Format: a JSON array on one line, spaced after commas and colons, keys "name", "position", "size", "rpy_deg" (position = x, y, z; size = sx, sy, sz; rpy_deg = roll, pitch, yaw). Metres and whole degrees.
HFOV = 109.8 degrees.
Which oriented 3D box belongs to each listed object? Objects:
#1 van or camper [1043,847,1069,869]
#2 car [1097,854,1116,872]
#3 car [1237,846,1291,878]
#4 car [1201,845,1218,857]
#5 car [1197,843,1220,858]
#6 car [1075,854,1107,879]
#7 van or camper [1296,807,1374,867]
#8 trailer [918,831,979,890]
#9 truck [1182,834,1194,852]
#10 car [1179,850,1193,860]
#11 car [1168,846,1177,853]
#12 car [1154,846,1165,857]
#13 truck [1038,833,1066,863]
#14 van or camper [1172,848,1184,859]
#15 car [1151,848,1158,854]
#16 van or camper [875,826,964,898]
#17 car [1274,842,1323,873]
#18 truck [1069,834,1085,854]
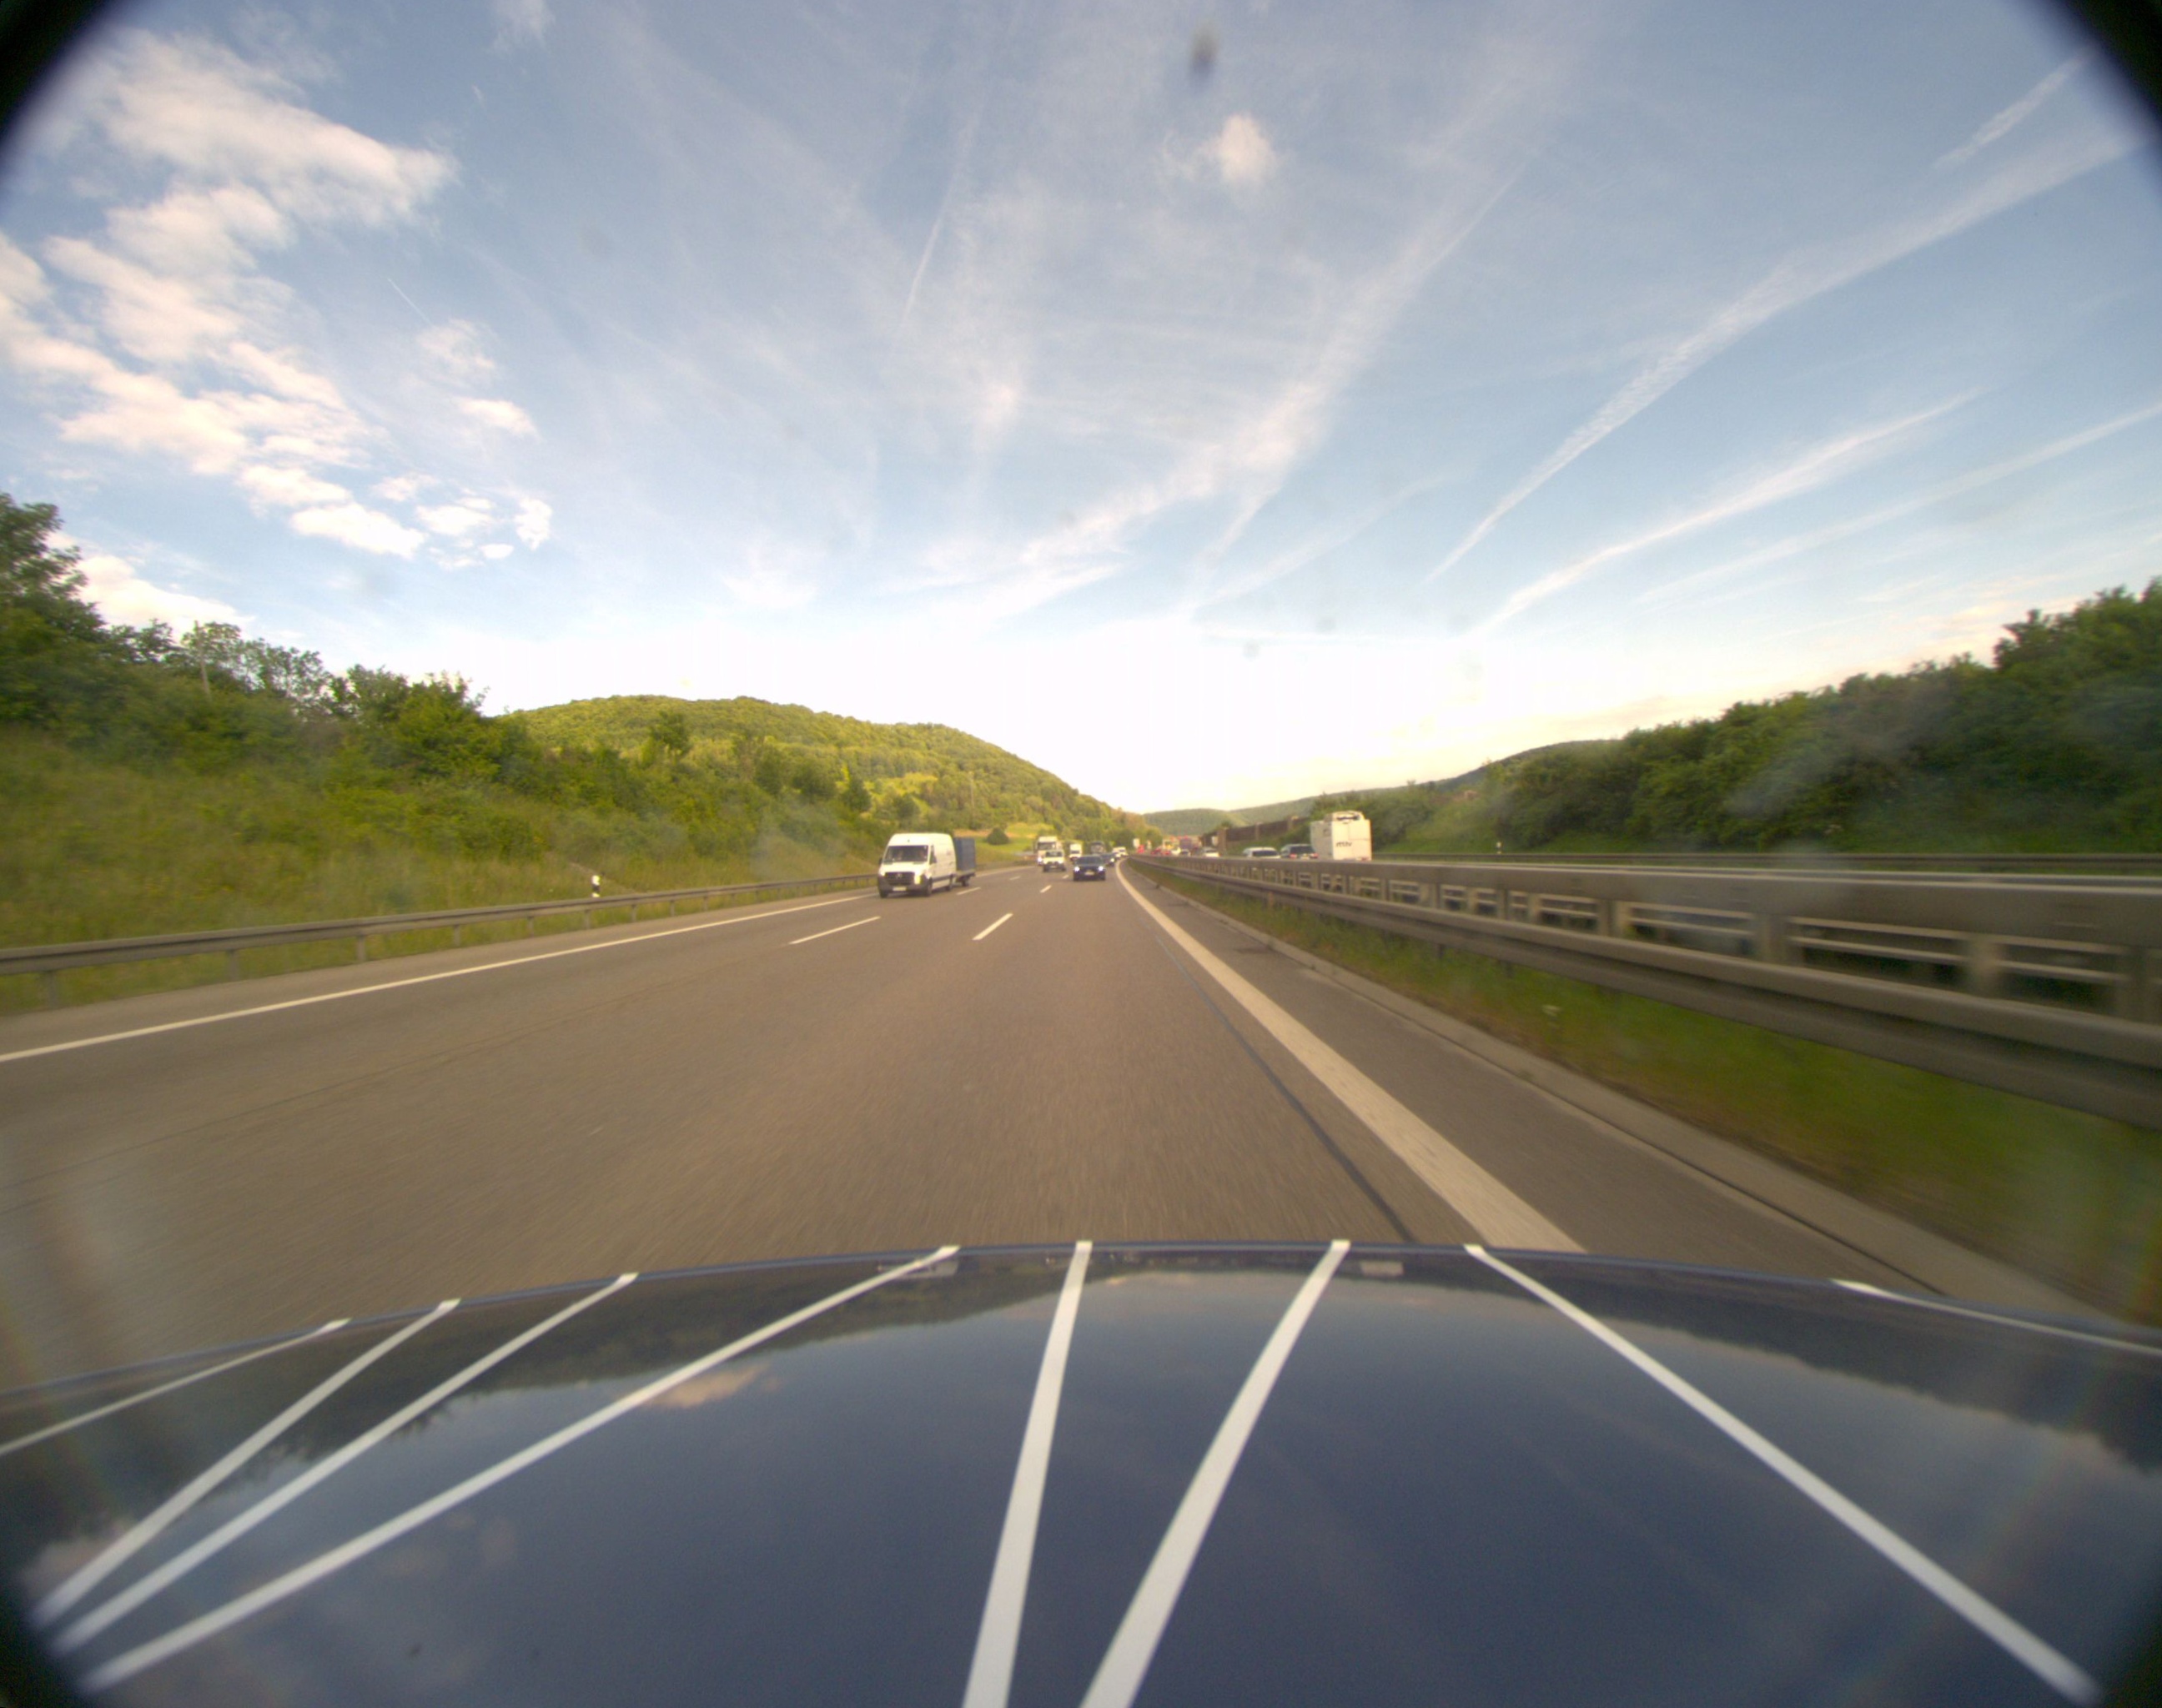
[{"name": "van or camper", "position": [-2.191, 0.353, 67.997], "size": [1.998, 1.881, 4.487], "rpy_deg": [-2, 0, 2]}, {"name": "car", "position": [2.711, 0.975, 82.389], "size": [1.998, 1.870, 4.001], "rpy_deg": [-1, 0, 1]}, {"name": "car", "position": [8.743, 0.344, 36.482], "size": [1.784, 1.401, 3.763], "rpy_deg": [-2, 0, 2]}, {"name": "car", "position": [20.010, -0.504, 118.498], "size": [1.934, 1.712, 4.879], "rpy_deg": [-2, 0, 3]}, {"name": "car", "position": [13.394, -0.378, 79.876], "size": [1.647, 1.427, 4.344], "rpy_deg": [-2, 0, 1]}, {"name": "car", "position": [0.614, 0.689, 43.169], "size": [1.580, 1.310, 4.001], "rpy_deg": [-2, 0, 3]}, {"name": "van or camper", "position": [16.428, -1.041, 49.719], "size": [2.488, 3.531, 7.977], "rpy_deg": [-2, 0, 1]}, {"name": "trailer", "position": [-6.618, 0.297, 38.618], "size": [1.998, 2.710, 5.249], "rpy_deg": [-2, 0, 1]}, {"name": "truck", "position": [26.789, -2.627, 190.602], "size": [2.655, 4.253, 14.685], "rpy_deg": [-2, 0, 7]}, {"name": "car", "position": [15.693, 0.161, 114.035], "size": [1.647, 1.427, 4.345], "rpy_deg": [-3, 1, 3]}, {"name": "car", "position": [20.806, -0.996, 173.131], "size": [1.688, 1.388, 4.000], "rpy_deg": [-2, 0, 3]}, {"name": "car", "position": [14.988, -0.507, 145.247], "size": [1.934, 1.880, 4.345], "rpy_deg": [-2, 0, 3]}, {"name": "truck", "position": [-4.078, -0.872, 108.704], "size": [2.925, 3.876, 13.010], "rpy_deg": [-2, 0, 2]}, {"name": "van or camper", "position": [19.086, -0.125, 149.897], "size": [1.852, 1.928, 5.401], "rpy_deg": [-2, 0, 3]}, {"name": "car", "position": [18.668, -0.806, 192.934], "size": [1.688, 1.450, 4.000], "rpy_deg": [-2, 0, 3]}, {"name": "van or camper", "position": [-6.749, 0.305, 32.764], "size": [1.998, 2.701, 7.523], "rpy_deg": [-2, 0, 1]}, {"name": "car", "position": [12.519, 0.157, 43.983], "size": [1.647, 1.646, 4.344], "rpy_deg": [-2, 0, 1]}, {"name": "truck", "position": [-0.848, -1.856, 148.193], "size": [2.709, 3.627, 9.031], "rpy_deg": [-2, 0, -2]}]
